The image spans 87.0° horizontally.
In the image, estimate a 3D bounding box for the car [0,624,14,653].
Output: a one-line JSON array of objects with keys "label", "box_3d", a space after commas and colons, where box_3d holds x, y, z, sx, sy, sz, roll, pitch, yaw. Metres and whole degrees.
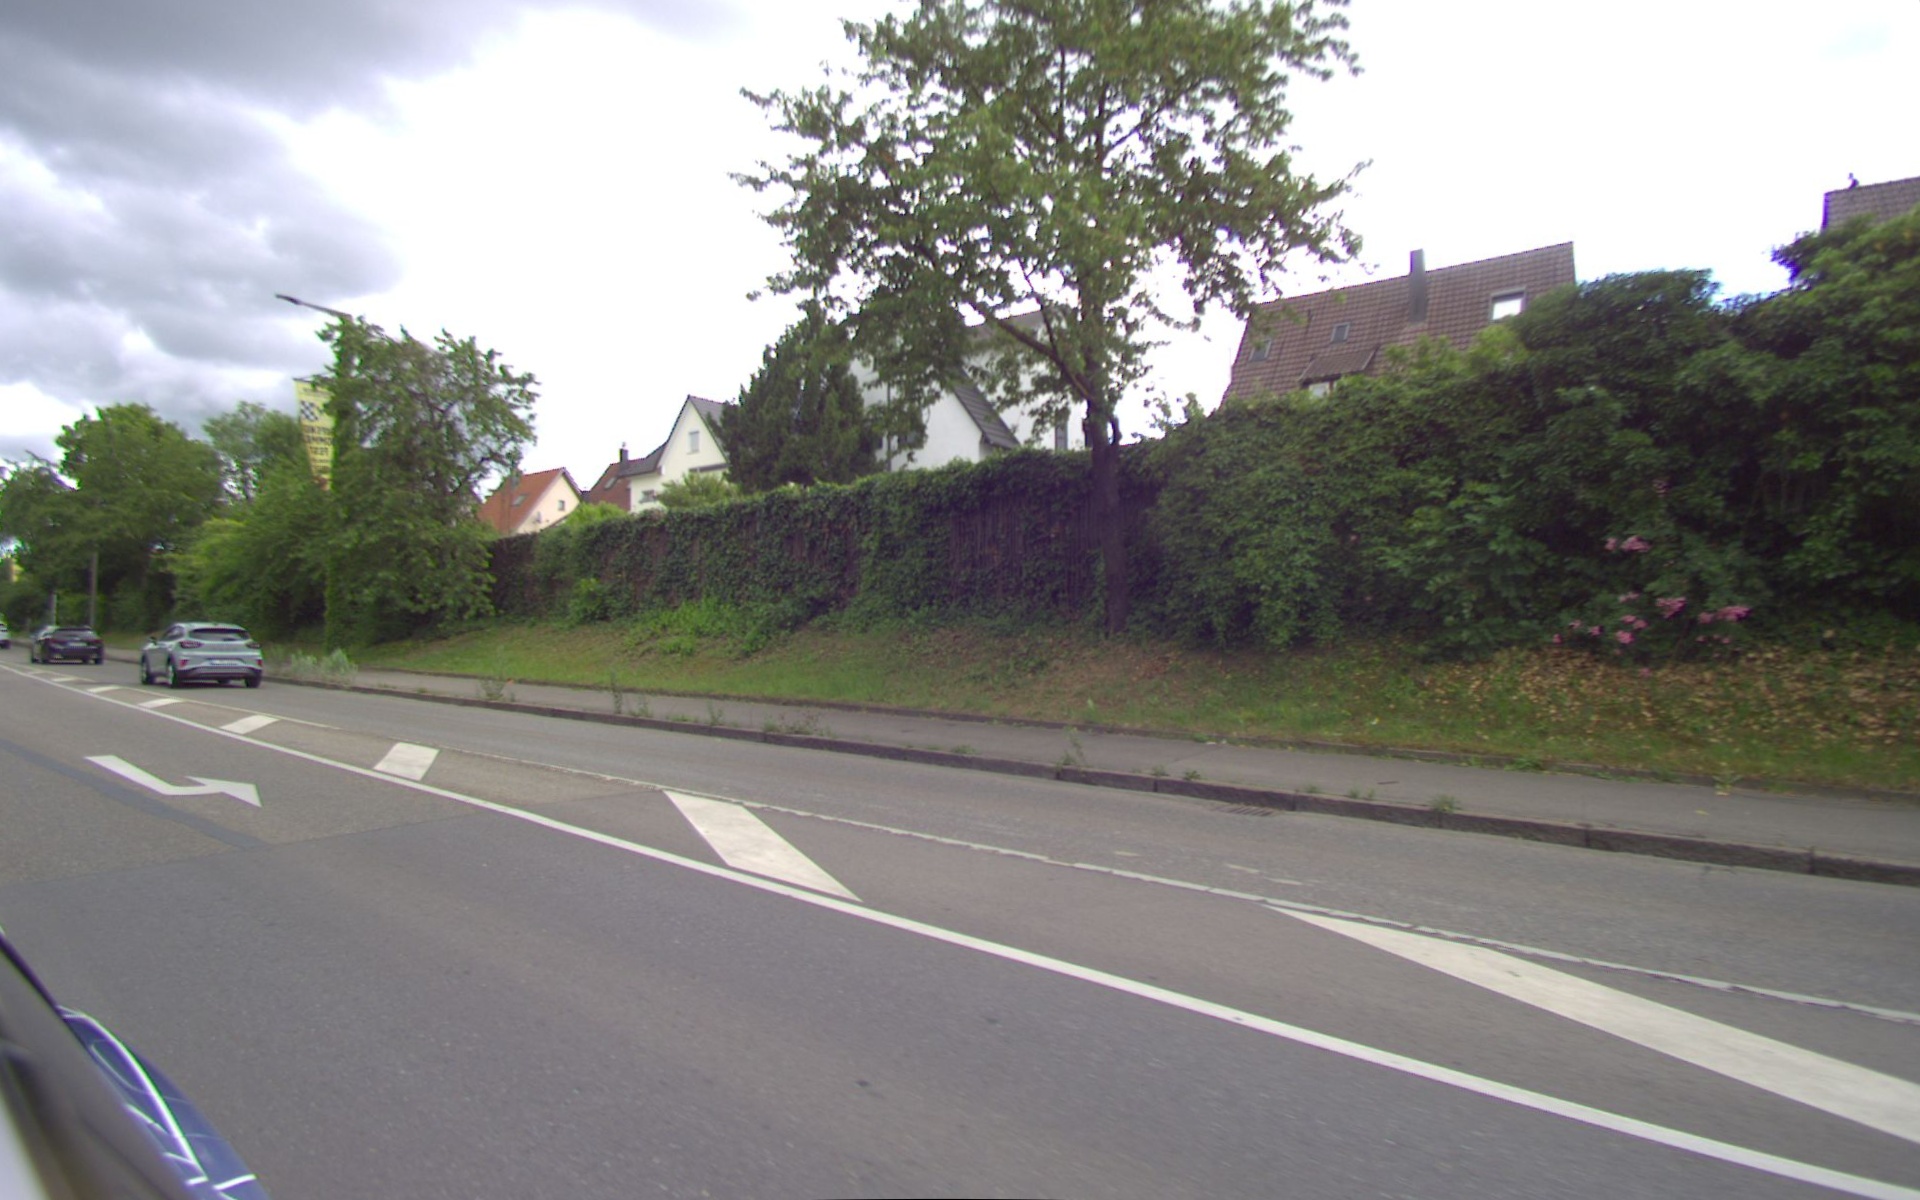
[{"label": "car", "box_3d": [-56.044, 2.170, 58.308, 4.157, 1.633, 1.822, -1, -3, 41]}]

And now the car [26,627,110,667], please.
[{"label": "car", "box_3d": [-33.530, 1.752, 38.016, 4.213, 1.411, 1.748, -1, -4, 41]}]

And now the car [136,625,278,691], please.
[{"label": "car", "box_3d": [-18.296, 1.383, 24.529, 4.139, 1.468, 1.808, -1, -4, 40]}]
